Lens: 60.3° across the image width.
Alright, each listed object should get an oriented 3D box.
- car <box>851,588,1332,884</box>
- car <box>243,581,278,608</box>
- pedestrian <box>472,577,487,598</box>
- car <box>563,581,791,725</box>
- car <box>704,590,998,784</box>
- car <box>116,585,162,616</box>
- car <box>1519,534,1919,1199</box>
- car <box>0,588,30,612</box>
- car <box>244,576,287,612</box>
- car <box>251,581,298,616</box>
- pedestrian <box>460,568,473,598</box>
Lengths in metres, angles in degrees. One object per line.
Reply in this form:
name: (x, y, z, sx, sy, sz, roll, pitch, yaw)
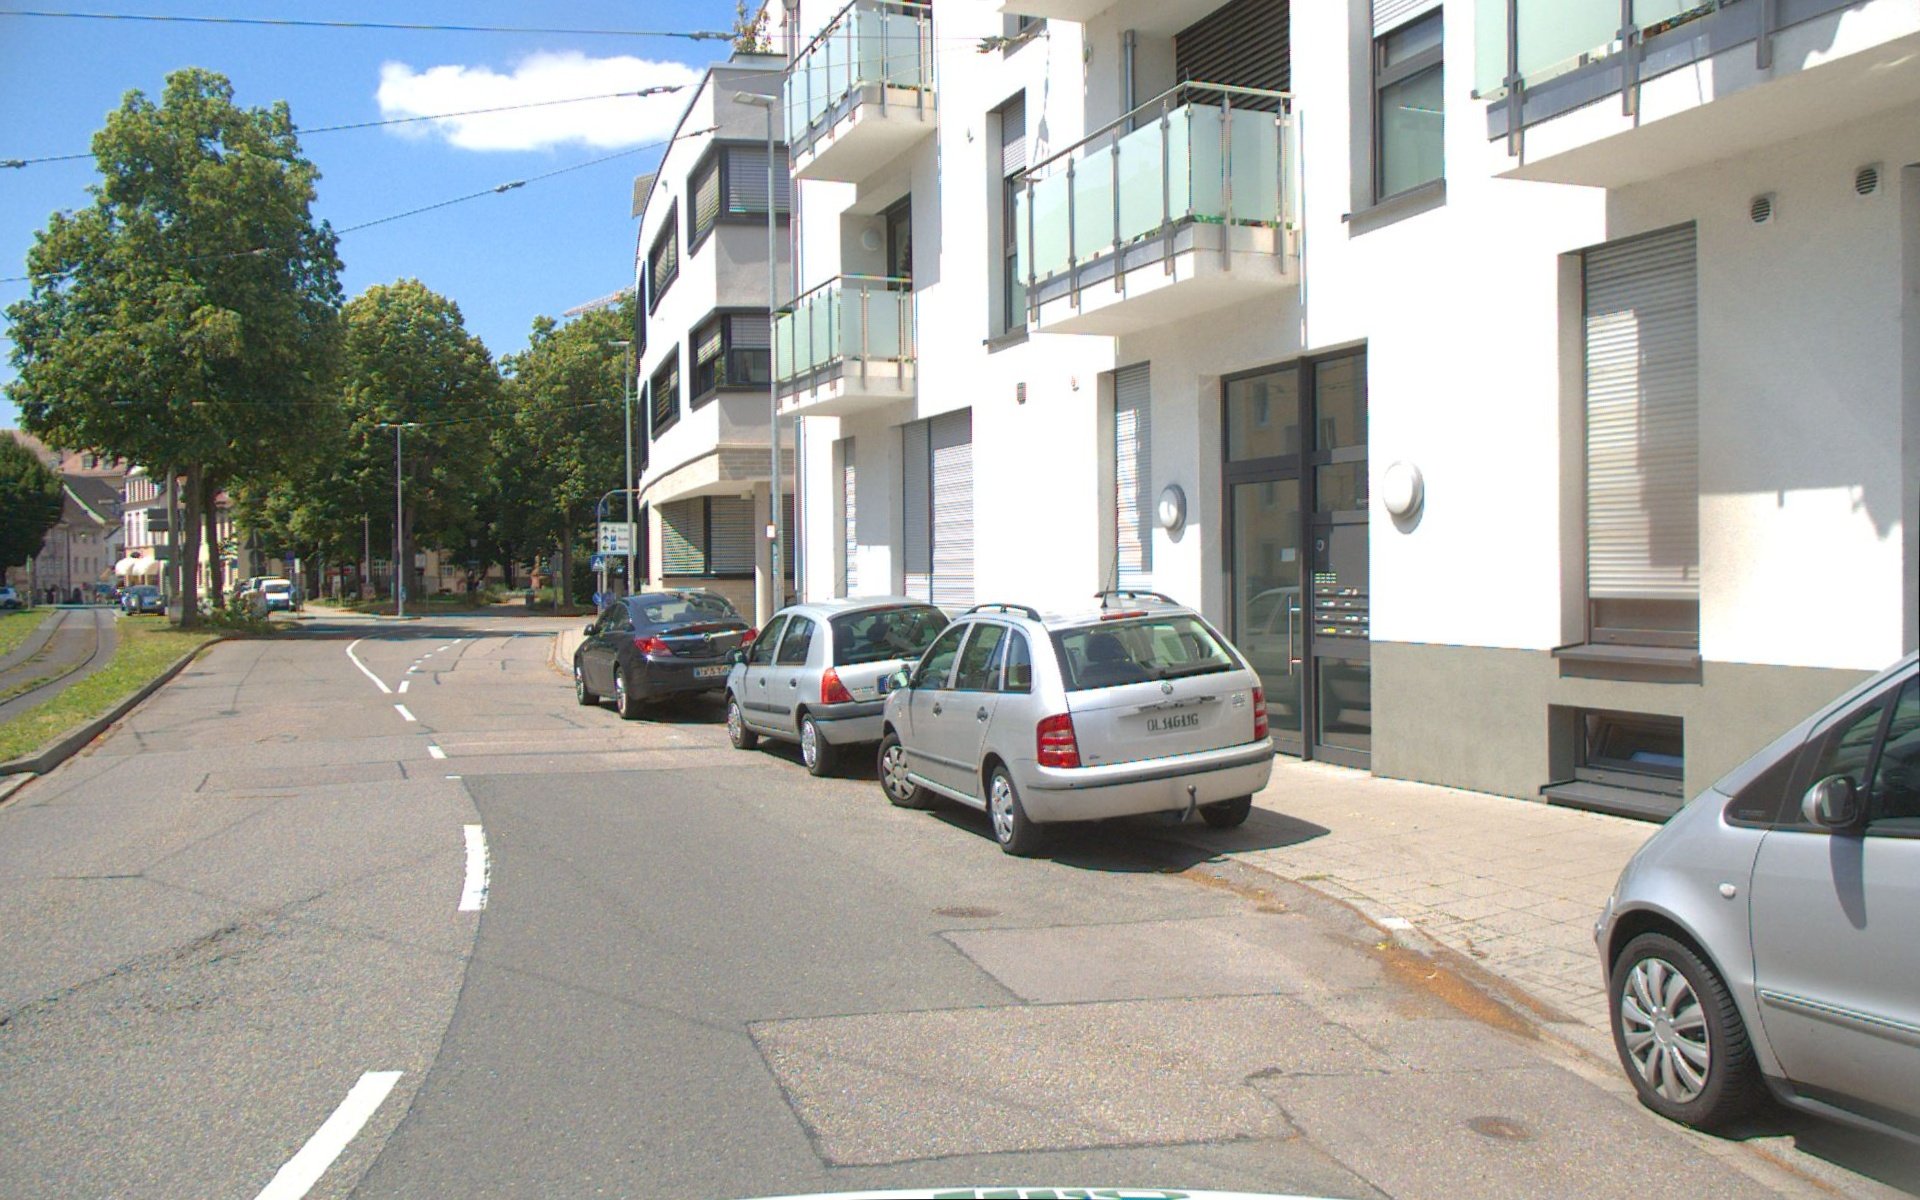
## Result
car: (0.649, 0.719, 11.082, 1.701, 1.457, 4.021, -5, 2, -18)
car: (-44.251, -0.357, 104.577, 1.761, 1.652, 4.448, 0, 1, -26)
pedestrian: (-31.041, -0.813, 106.882, 0.890, 1.273, 1.145, 0, 2, -13)
car: (-3.808, 0.616, 21.611, 1.777, 1.535, 4.513, -5, 2, -24)
car: (-1.144, 0.708, 15.500, 1.571, 1.457, 3.681, -5, 2, -22)
car: (-42.927, -0.001, 86.437, 1.883, 1.560, 4.201, 0, 0, -30)
car: (3.210, 0.623, 3.904, 1.699, 1.638, 3.784, -3, 1, -16)
car: (-65.439, 0.044, 111.979, 4.163, 1.531, 1.982, -3, 2, -32)
car: (-41.069, -0.391, 97.752, 2.024, 2.037, 5.204, 0, 1, -26)
car: (-37.395, -0.110, 90.213, 1.971, 1.858, 4.382, -1, 1, -28)
pedestrian: (-31.813, -1.116, 106.649, 0.735, 1.944, 0.682, 0, 2, -13)
